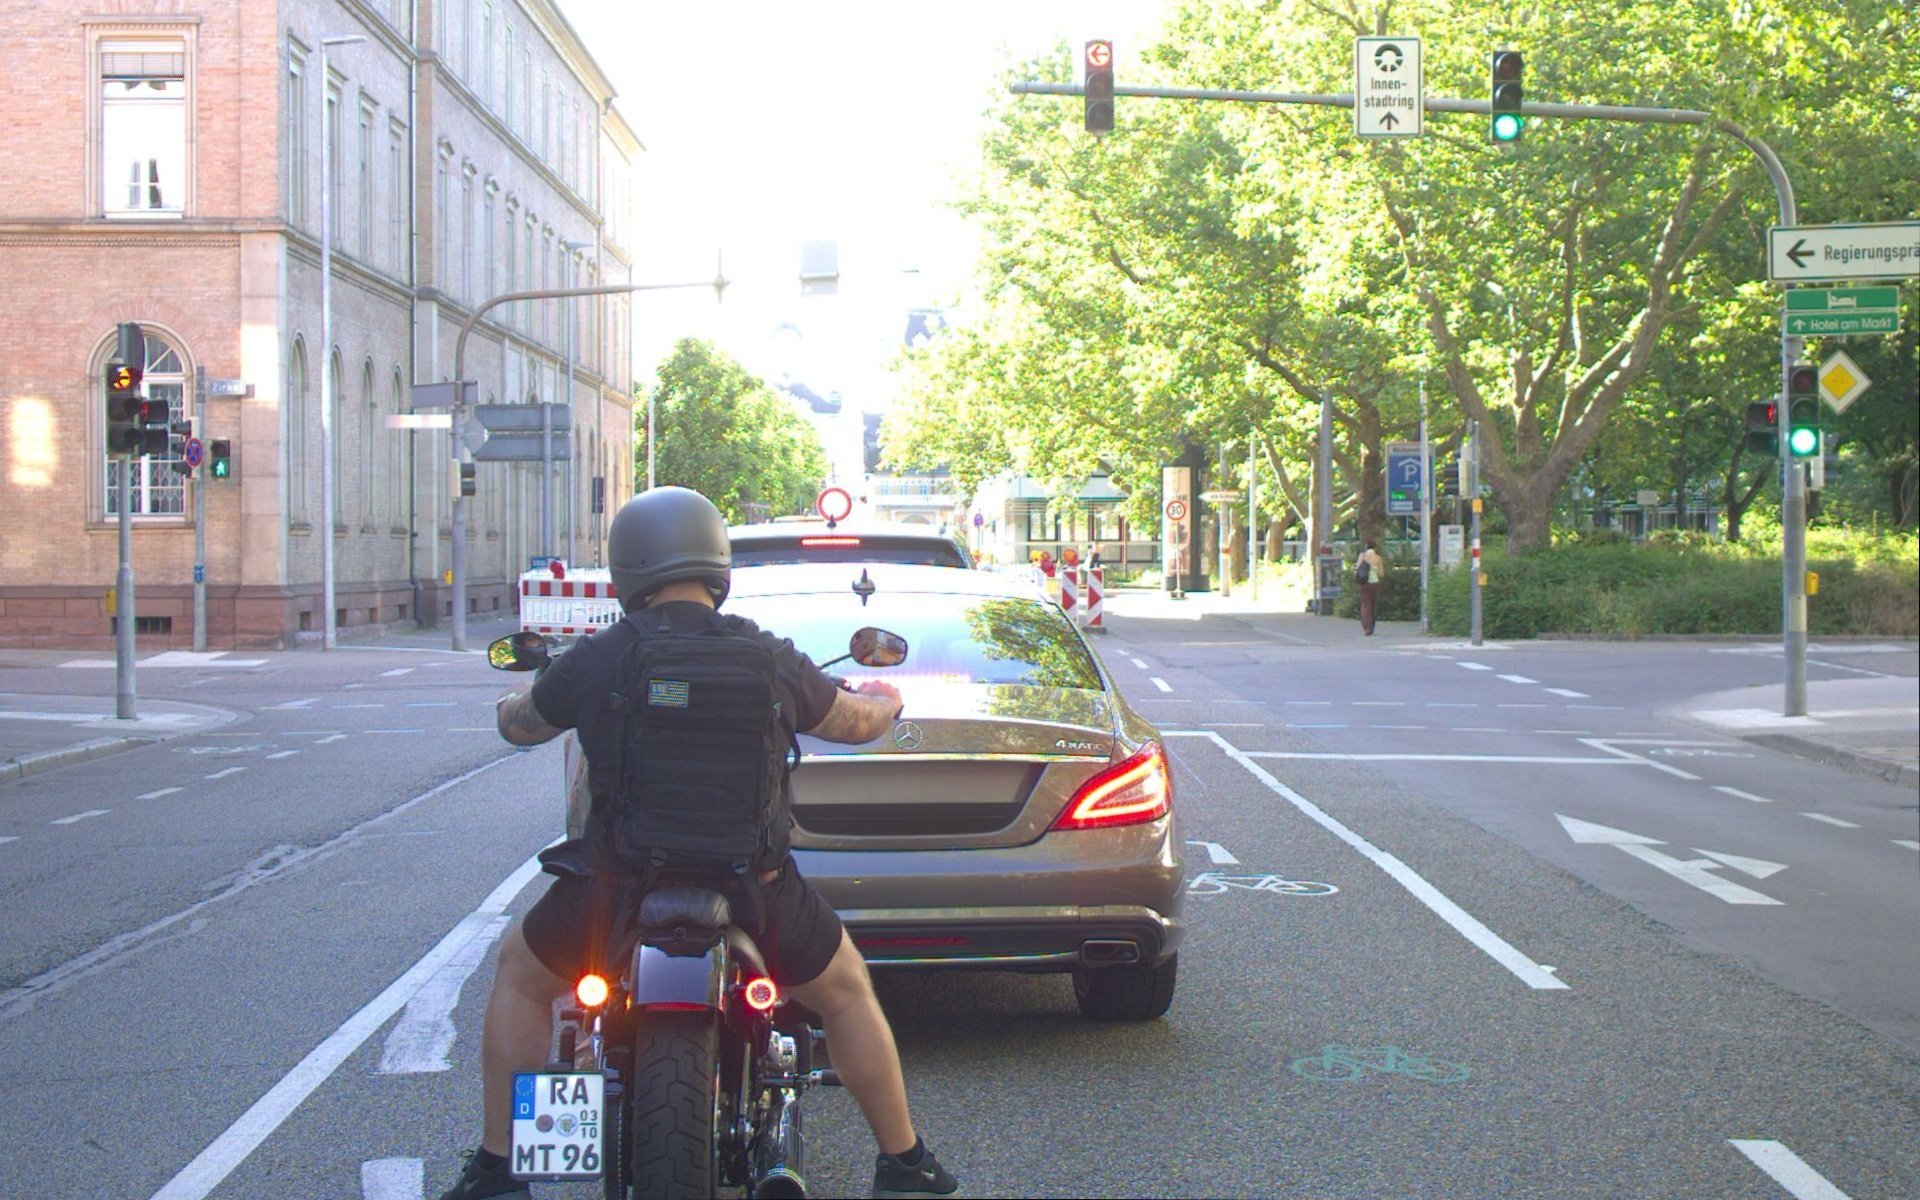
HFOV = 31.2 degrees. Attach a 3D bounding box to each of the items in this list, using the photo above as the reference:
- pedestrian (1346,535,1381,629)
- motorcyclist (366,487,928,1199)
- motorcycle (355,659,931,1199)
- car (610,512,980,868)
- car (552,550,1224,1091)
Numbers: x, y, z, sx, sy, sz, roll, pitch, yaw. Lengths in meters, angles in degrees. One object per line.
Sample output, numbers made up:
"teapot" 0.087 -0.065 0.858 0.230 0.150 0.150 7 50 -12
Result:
"pedestrian" 7.204 -0.331 61.362 0.559 1.672 0.565 0 1 -1
"motorcyclist" -0.629 0.570 7.430 1.113 1.607 1.202 0 1 -1
"motorcycle" -0.572 0.775 7.365 1.007 1.200 2.665 0 1 -1
"car" -0.811 0.379 17.565 1.681 1.619 3.841 0 1 -2
"car" -0.446 0.569 11.638 1.821 1.471 4.354 0 1 -7
